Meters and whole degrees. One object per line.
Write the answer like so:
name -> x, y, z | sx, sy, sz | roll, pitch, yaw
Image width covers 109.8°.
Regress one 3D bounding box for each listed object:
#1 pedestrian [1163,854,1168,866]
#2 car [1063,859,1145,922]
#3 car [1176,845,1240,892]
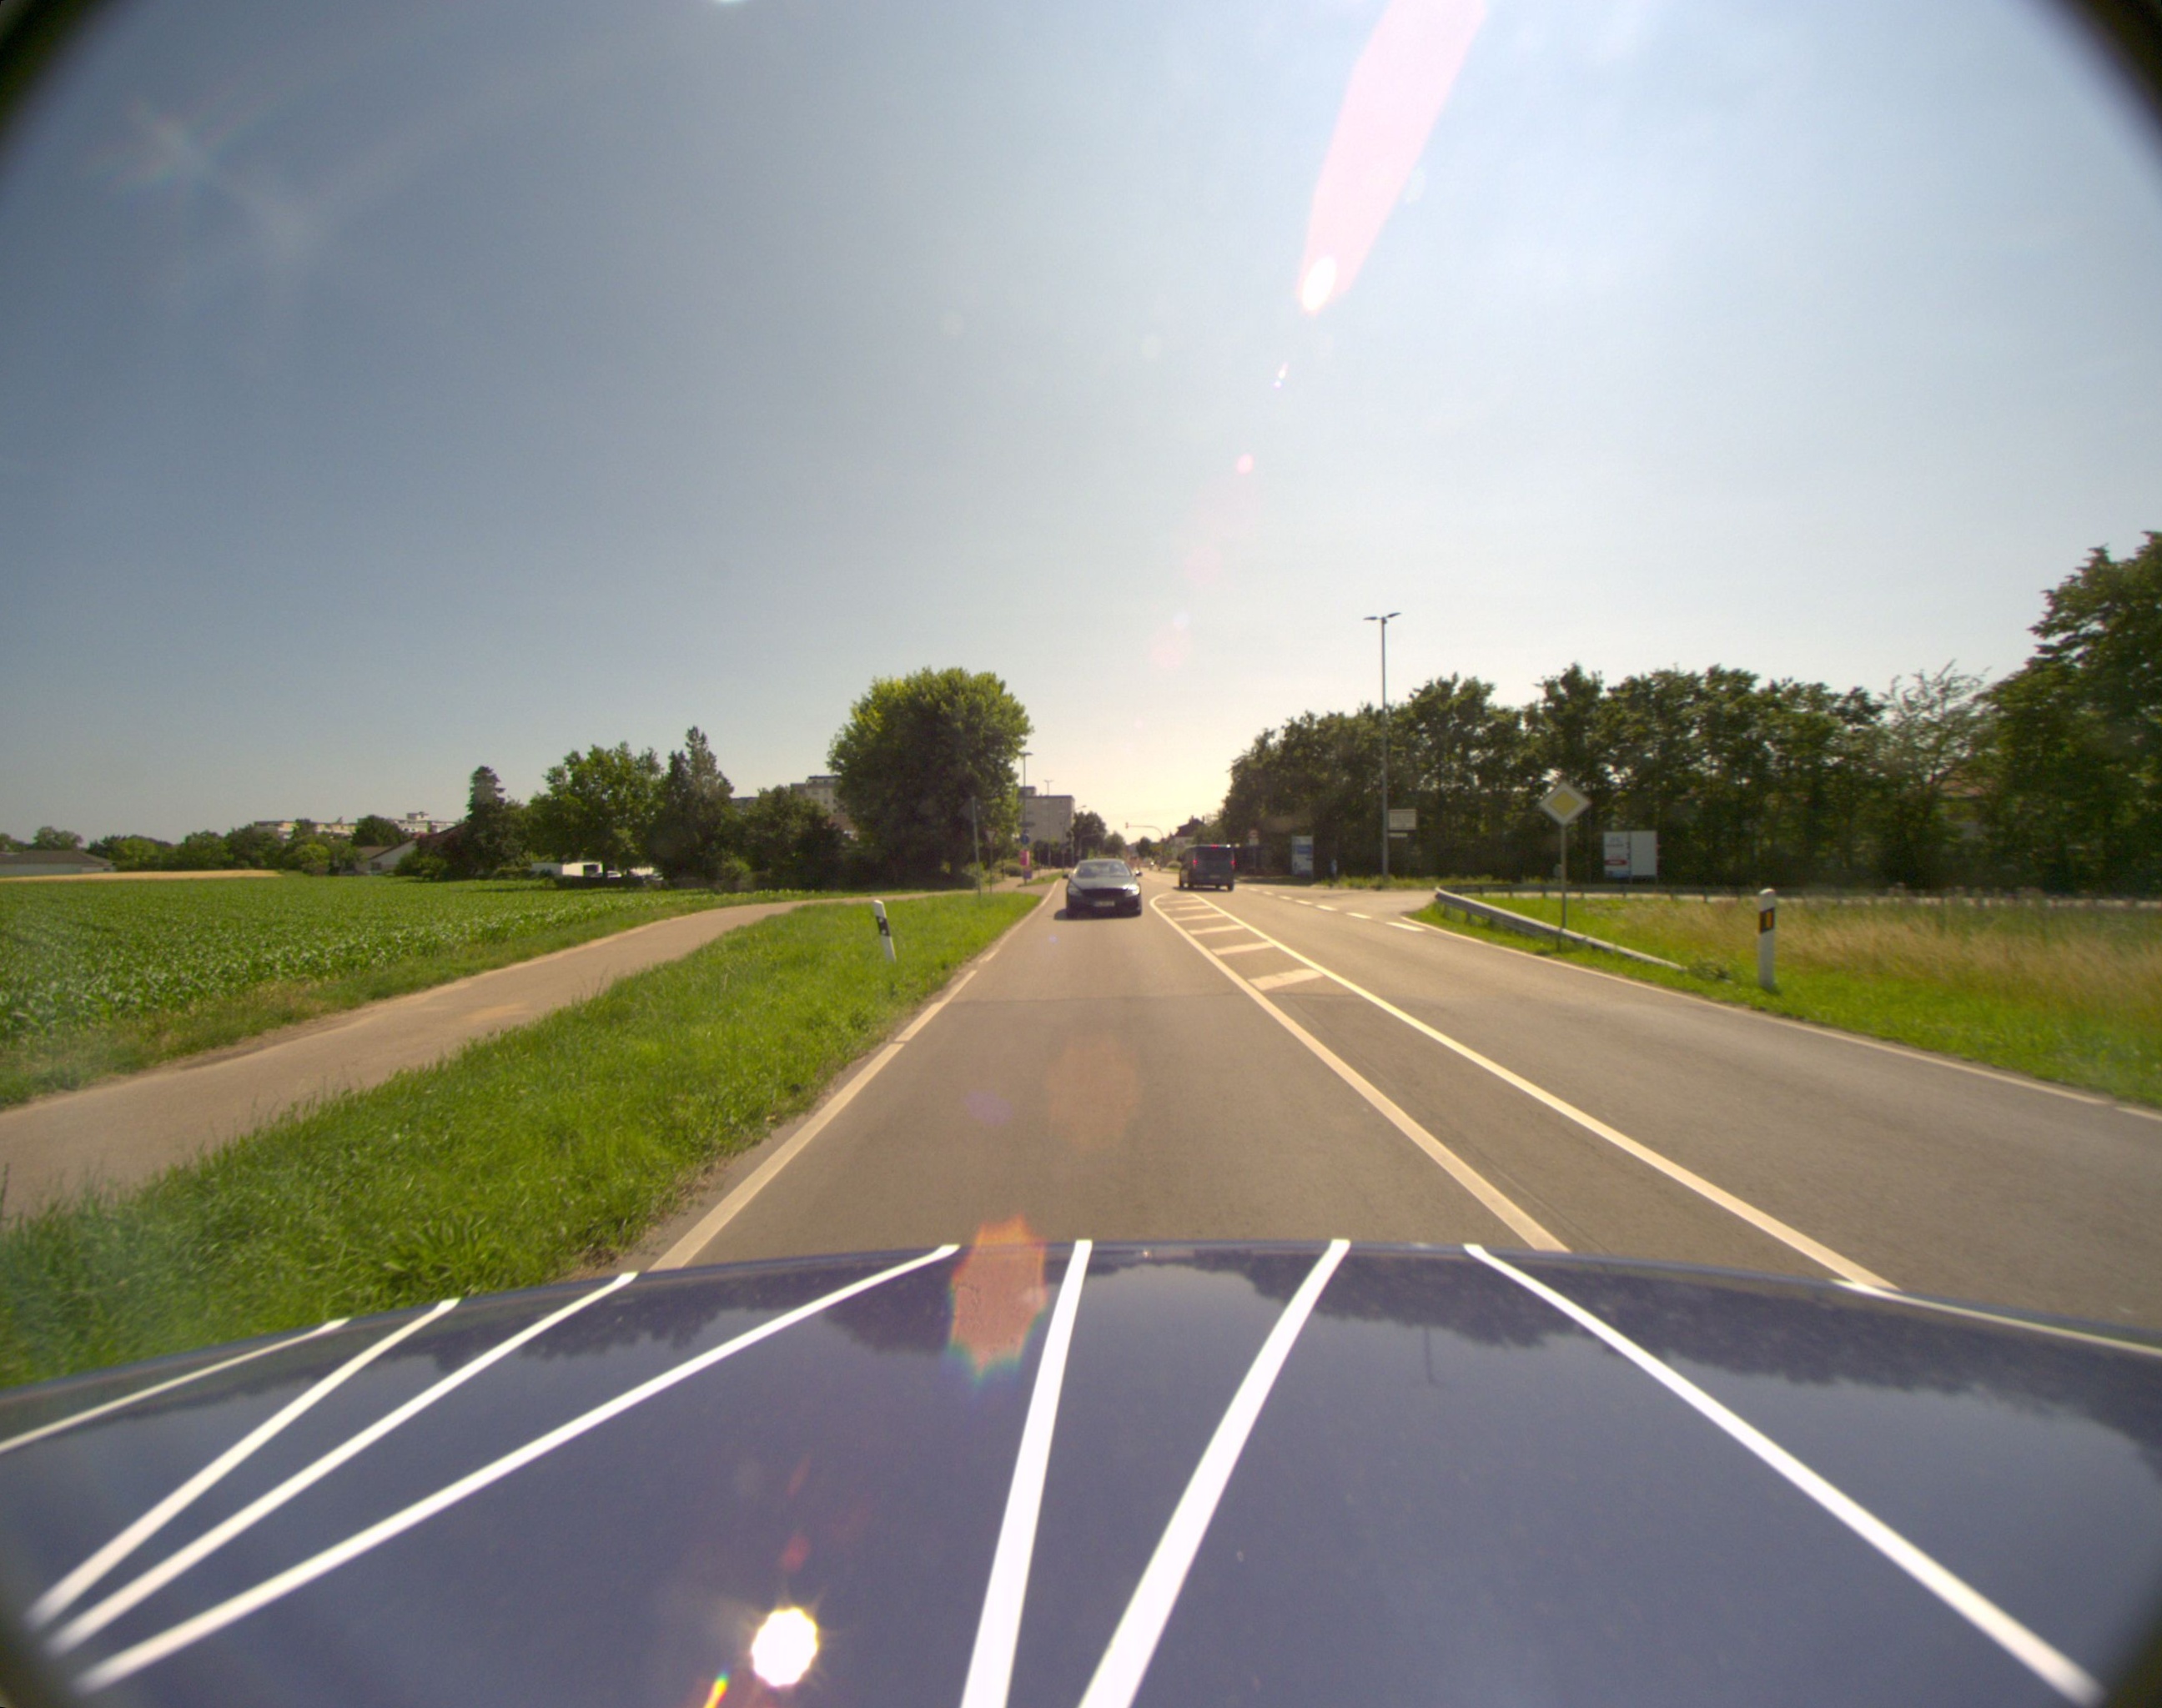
pedestrian -> 12.175, 0.840, 109.036 | 0.615, 1.598, 0.688 | -4, 0, 4
car -> 0.557, 0.888, 20.450 | 1.889, 1.429, 4.838 | -2, 0, 0
car -> 5.702, 0.616, 34.794 | 2.149, 1.940, 5.248 | 0, 0, 2
